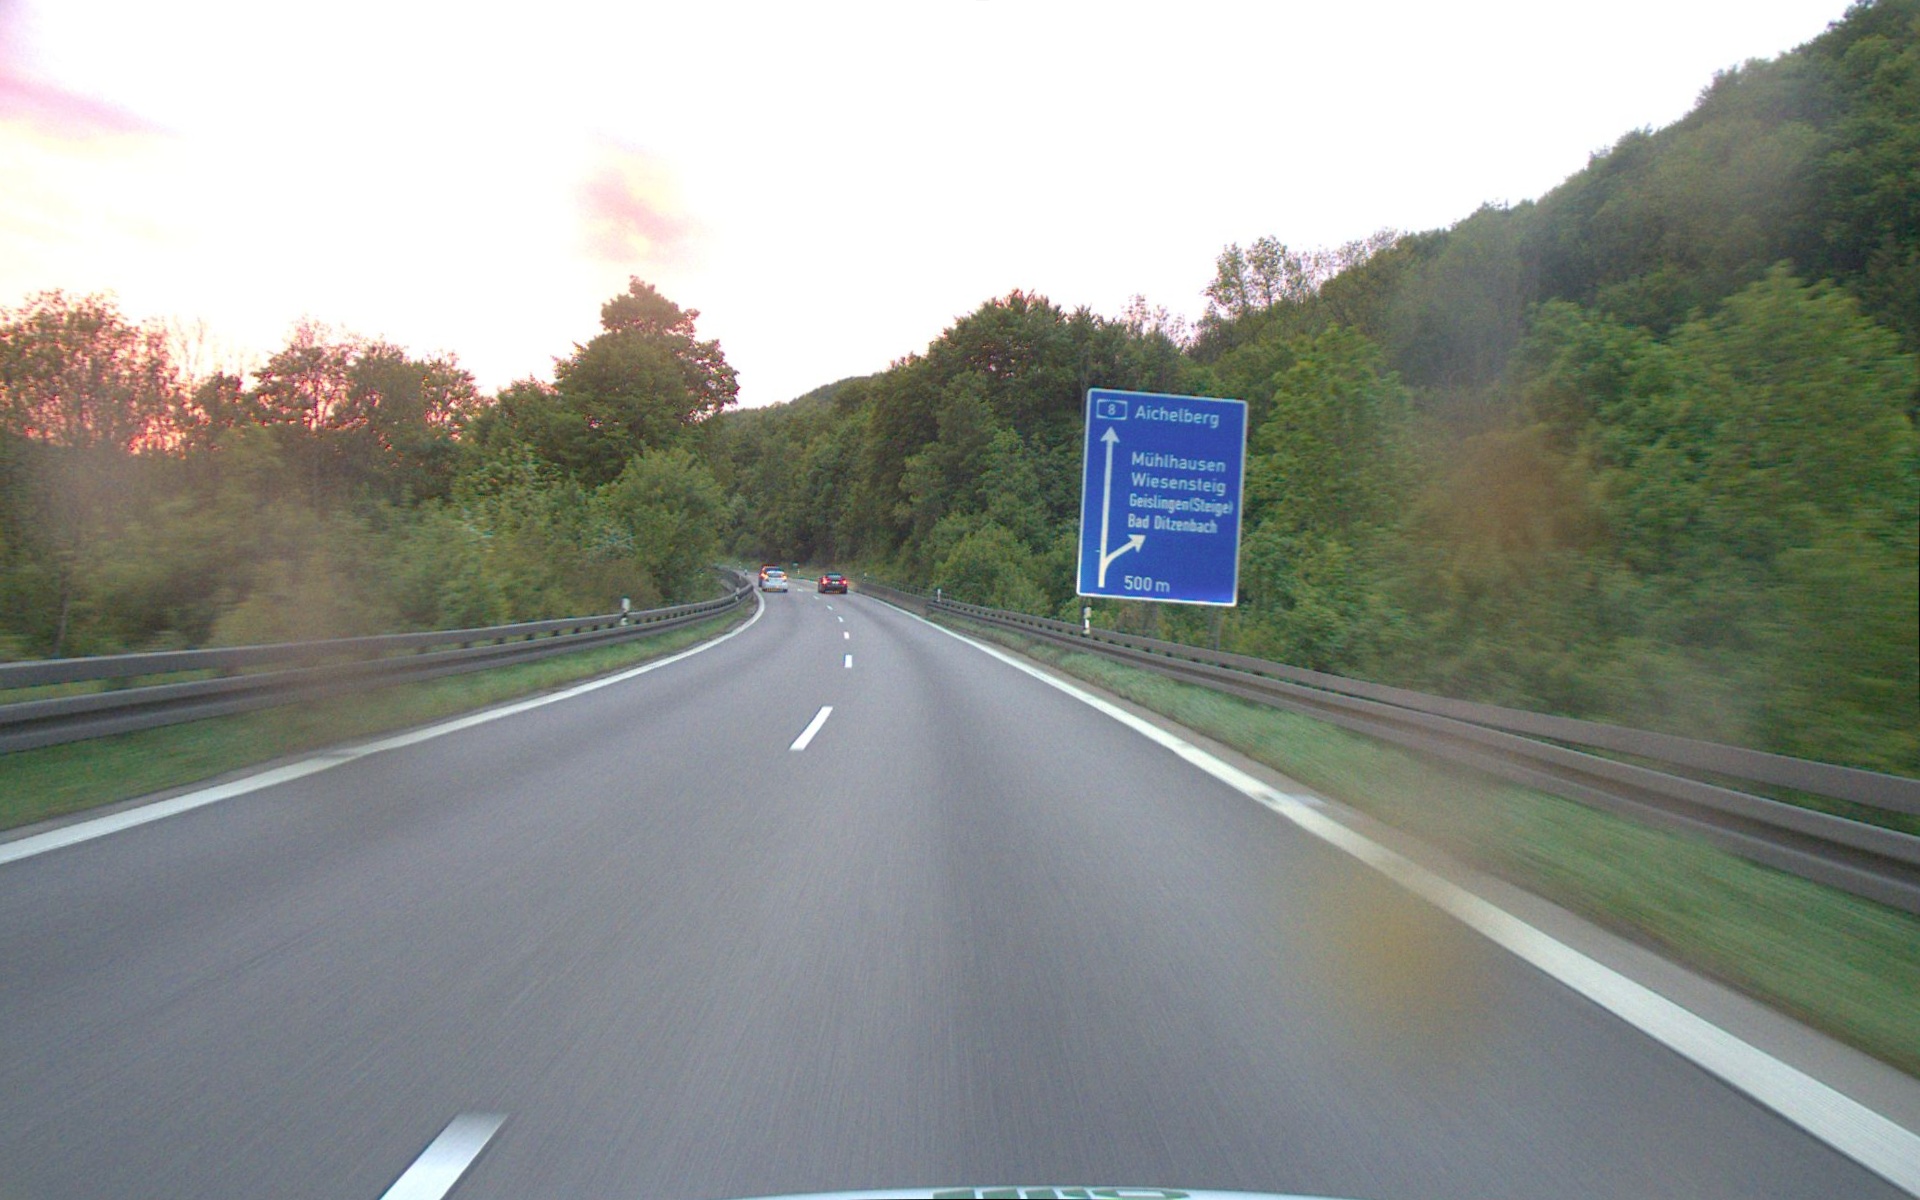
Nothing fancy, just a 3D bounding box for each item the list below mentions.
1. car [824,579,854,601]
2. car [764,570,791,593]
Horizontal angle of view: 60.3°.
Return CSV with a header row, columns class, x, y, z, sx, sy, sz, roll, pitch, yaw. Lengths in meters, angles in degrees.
class,x,y,z,sx,sy,sz,roll,pitch,yaw
car,-8.723,-0.704,119.784,1.840,1.492,3.999,2,0,0
car,-13.190,-1.302,119.437,1.684,1.527,3.997,2,-1,-3
